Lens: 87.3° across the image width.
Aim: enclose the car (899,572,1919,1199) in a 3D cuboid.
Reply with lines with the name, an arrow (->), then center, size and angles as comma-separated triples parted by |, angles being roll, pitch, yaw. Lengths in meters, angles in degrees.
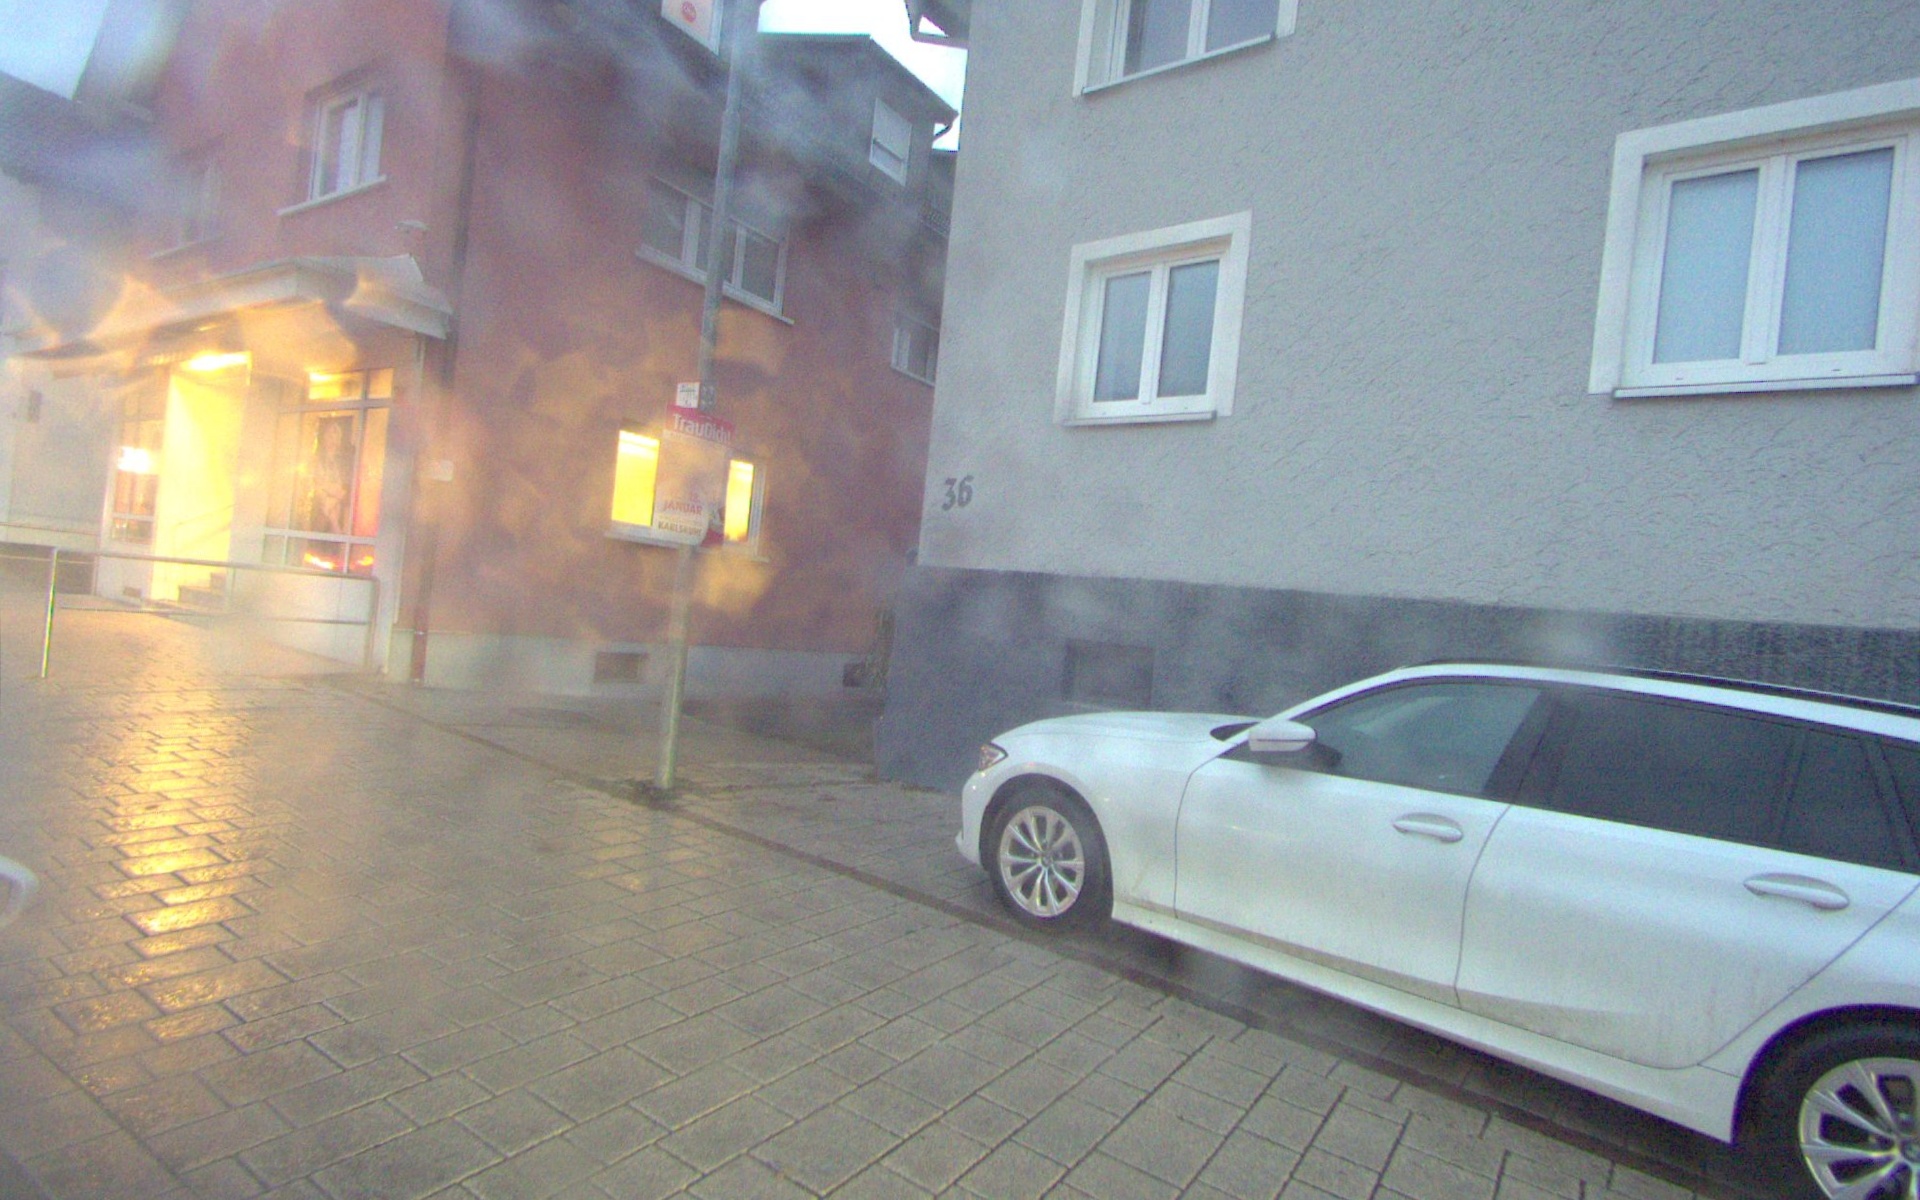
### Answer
car -> 2.060, 0.878, 4.062 | 4.478, 1.485, 1.880 | 7, 1, 41
